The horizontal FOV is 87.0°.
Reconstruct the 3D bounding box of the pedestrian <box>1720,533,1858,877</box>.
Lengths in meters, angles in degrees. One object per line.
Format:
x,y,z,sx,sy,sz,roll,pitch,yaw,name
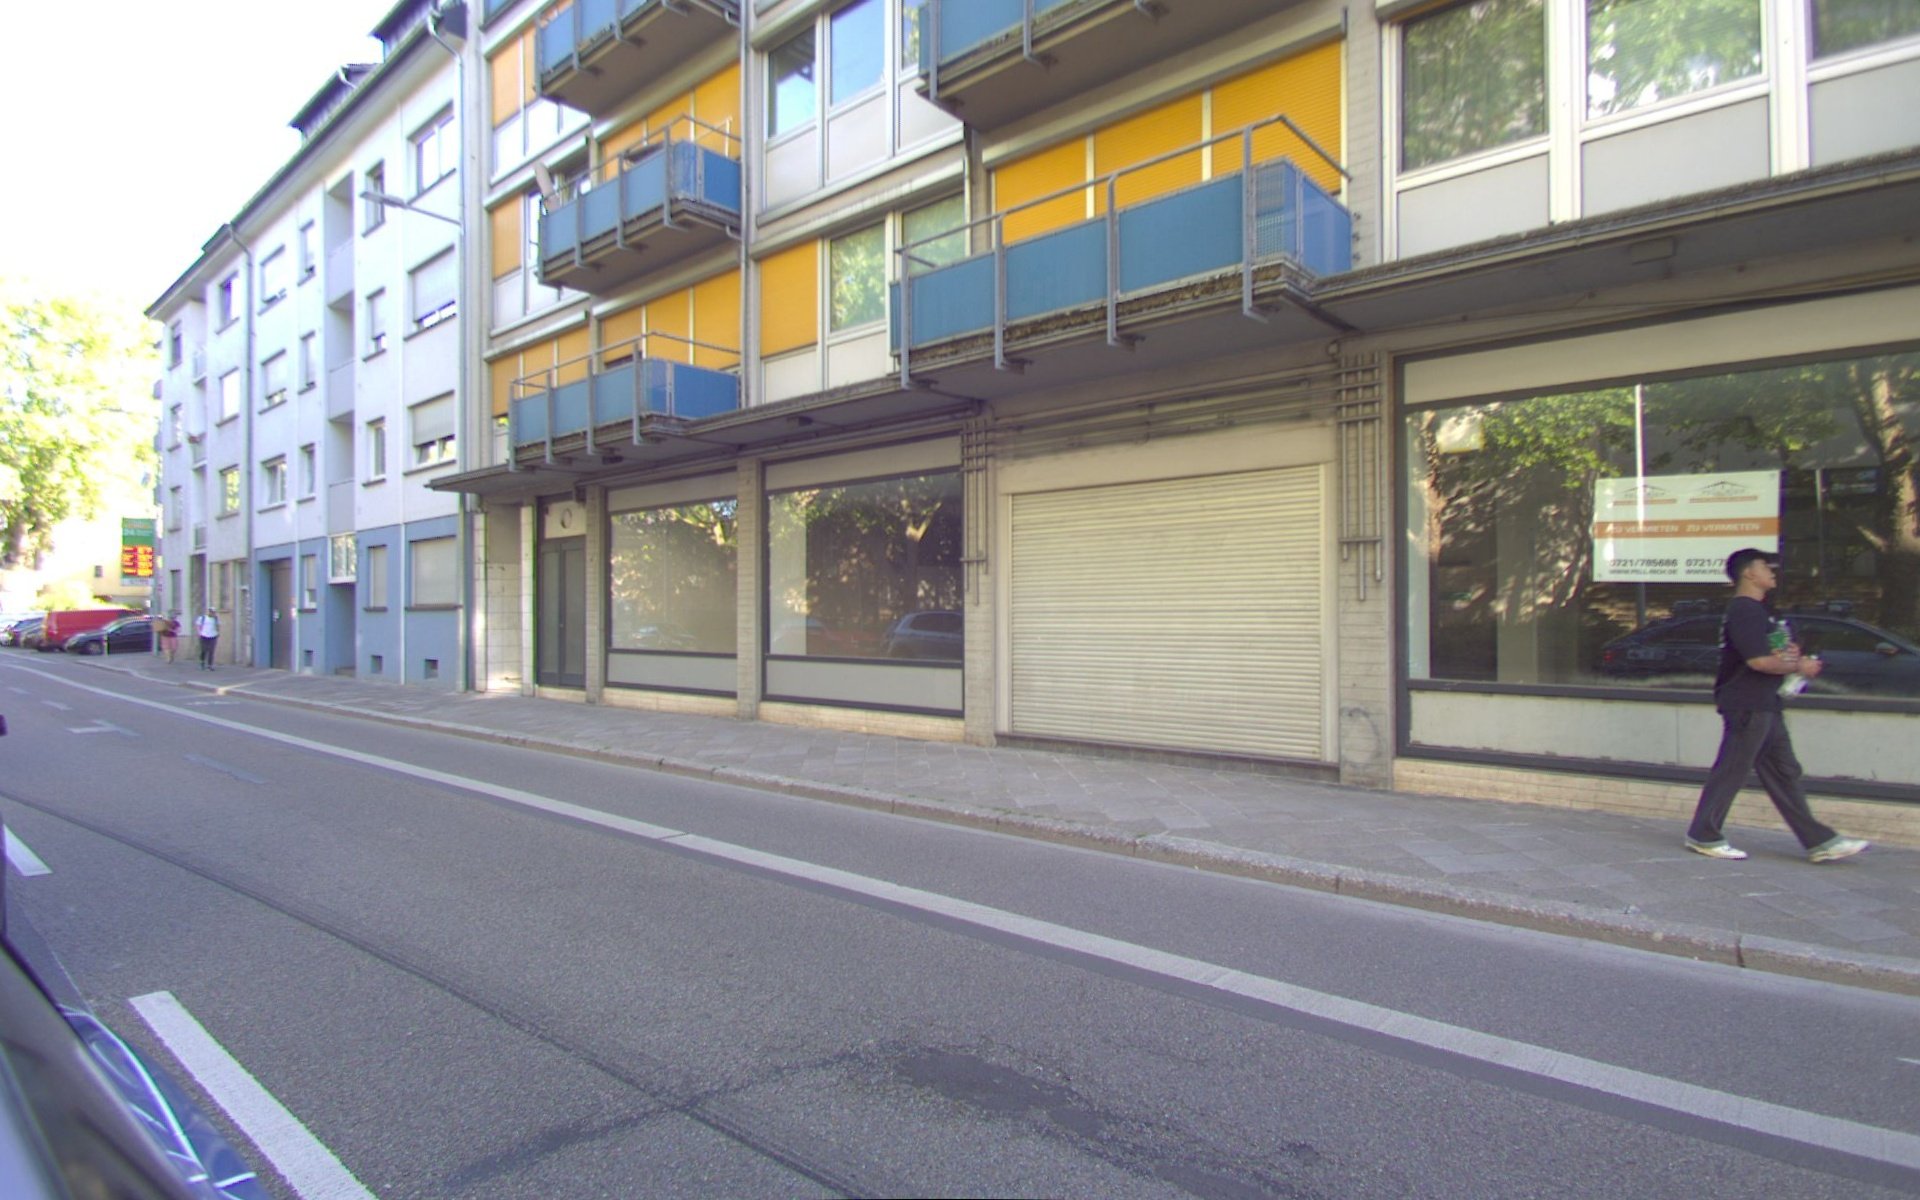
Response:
4.551,0.541,5.580,0.527,1.754,0.622,-1,-1,39,pedestrian

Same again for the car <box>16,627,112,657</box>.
-42.995,2.009,48.614,1.294,1.258,3.283,-1,0,41,car

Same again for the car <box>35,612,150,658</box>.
-40.536,1.591,47.361,1.635,1.937,3.878,-1,0,41,car

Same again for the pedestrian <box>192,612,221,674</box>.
-21.462,1.221,28.830,0.343,1.739,0.562,-2,0,41,pedestrian

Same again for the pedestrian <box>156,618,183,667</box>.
-24.852,1.331,31.822,0.343,1.529,0.562,-2,0,41,pedestrian

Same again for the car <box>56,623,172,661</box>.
-36.639,1.777,43.870,1.635,1.422,3.623,-1,0,41,car
